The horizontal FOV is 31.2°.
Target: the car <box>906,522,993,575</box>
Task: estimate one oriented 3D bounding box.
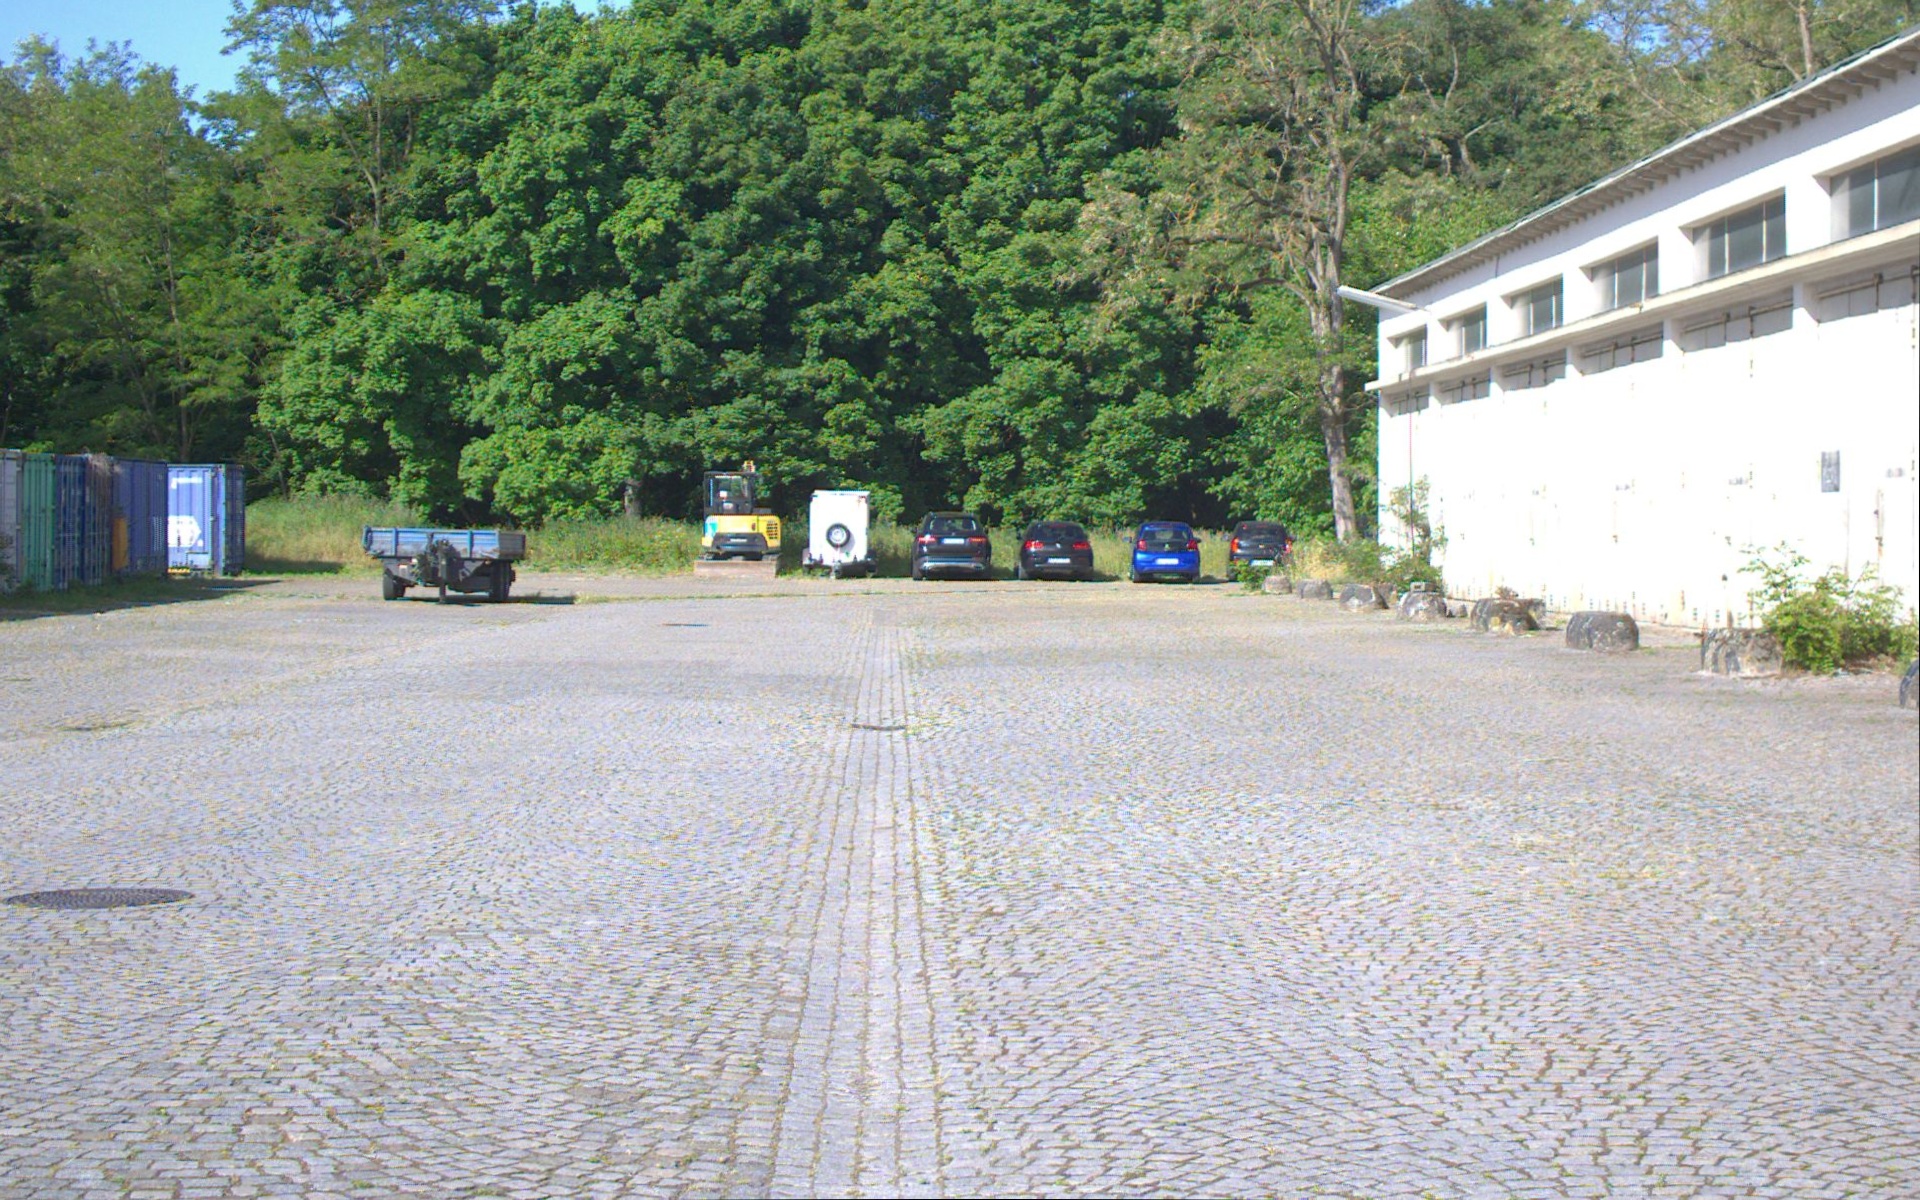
[{"bbox_3d":[-0.275,-1.255,82.658,1.993,1.254,4.001,0,1,-1],"label":"car"}]

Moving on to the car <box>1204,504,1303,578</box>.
[{"bbox_3d":[7.173,-1.466,84.366,1.993,1.766,4.001,0,1,-1],"label":"car"}]

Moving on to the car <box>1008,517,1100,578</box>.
[{"bbox_3d":[2.245,-1.286,83.067,1.993,1.419,4.001,0,1,-1],"label":"car"}]

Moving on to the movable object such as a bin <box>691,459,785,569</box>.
[{"bbox_3d":[-5.451,-2.110,84.560,2.231,2.648,4.001,0,1,-4],"label":"movable object such as a bin"}]

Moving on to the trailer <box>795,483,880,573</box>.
[{"bbox_3d":[-2.971,-1.762,83.844,1.993,2.155,4.432,0,1,-2],"label":"trailer"}]

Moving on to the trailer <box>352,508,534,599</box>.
[{"bbox_3d":[-9.728,-0.904,65.205,2.791,1.640,5.621,0,1,-2],"label":"trailer"}]

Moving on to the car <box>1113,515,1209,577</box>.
[{"bbox_3d":[4.837,-1.321,83.091,1.993,1.461,4.001,0,1,-1],"label":"car"}]
